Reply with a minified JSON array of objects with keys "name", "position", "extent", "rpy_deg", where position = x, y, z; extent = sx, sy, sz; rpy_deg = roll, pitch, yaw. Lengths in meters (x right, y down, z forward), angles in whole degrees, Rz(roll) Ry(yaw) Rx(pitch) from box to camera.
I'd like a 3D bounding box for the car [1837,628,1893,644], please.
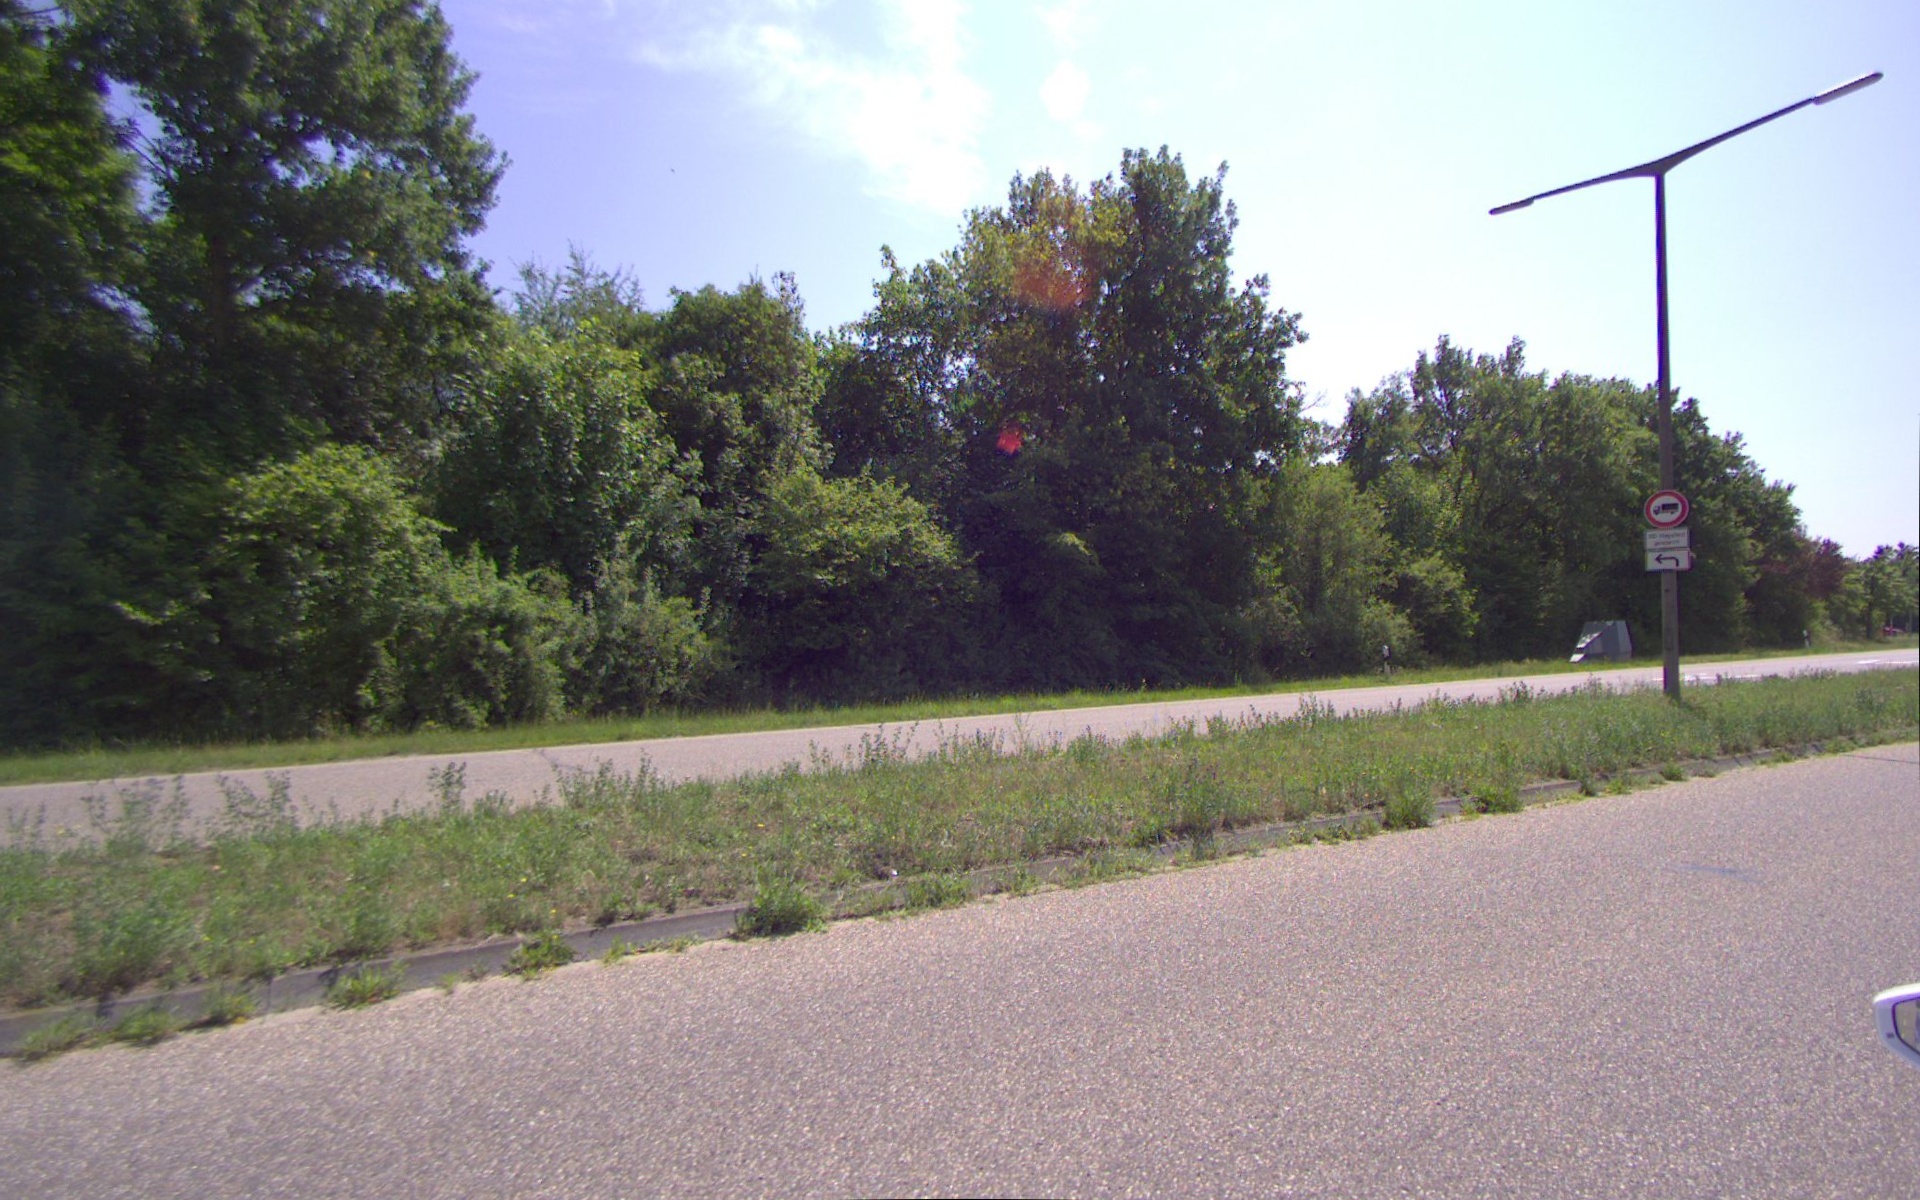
[{"name":"car","position":[99.241,3.914,110.173],"extent":[1.964,1.663,4.479],"rpy_deg":[1,-1,-43]}]
